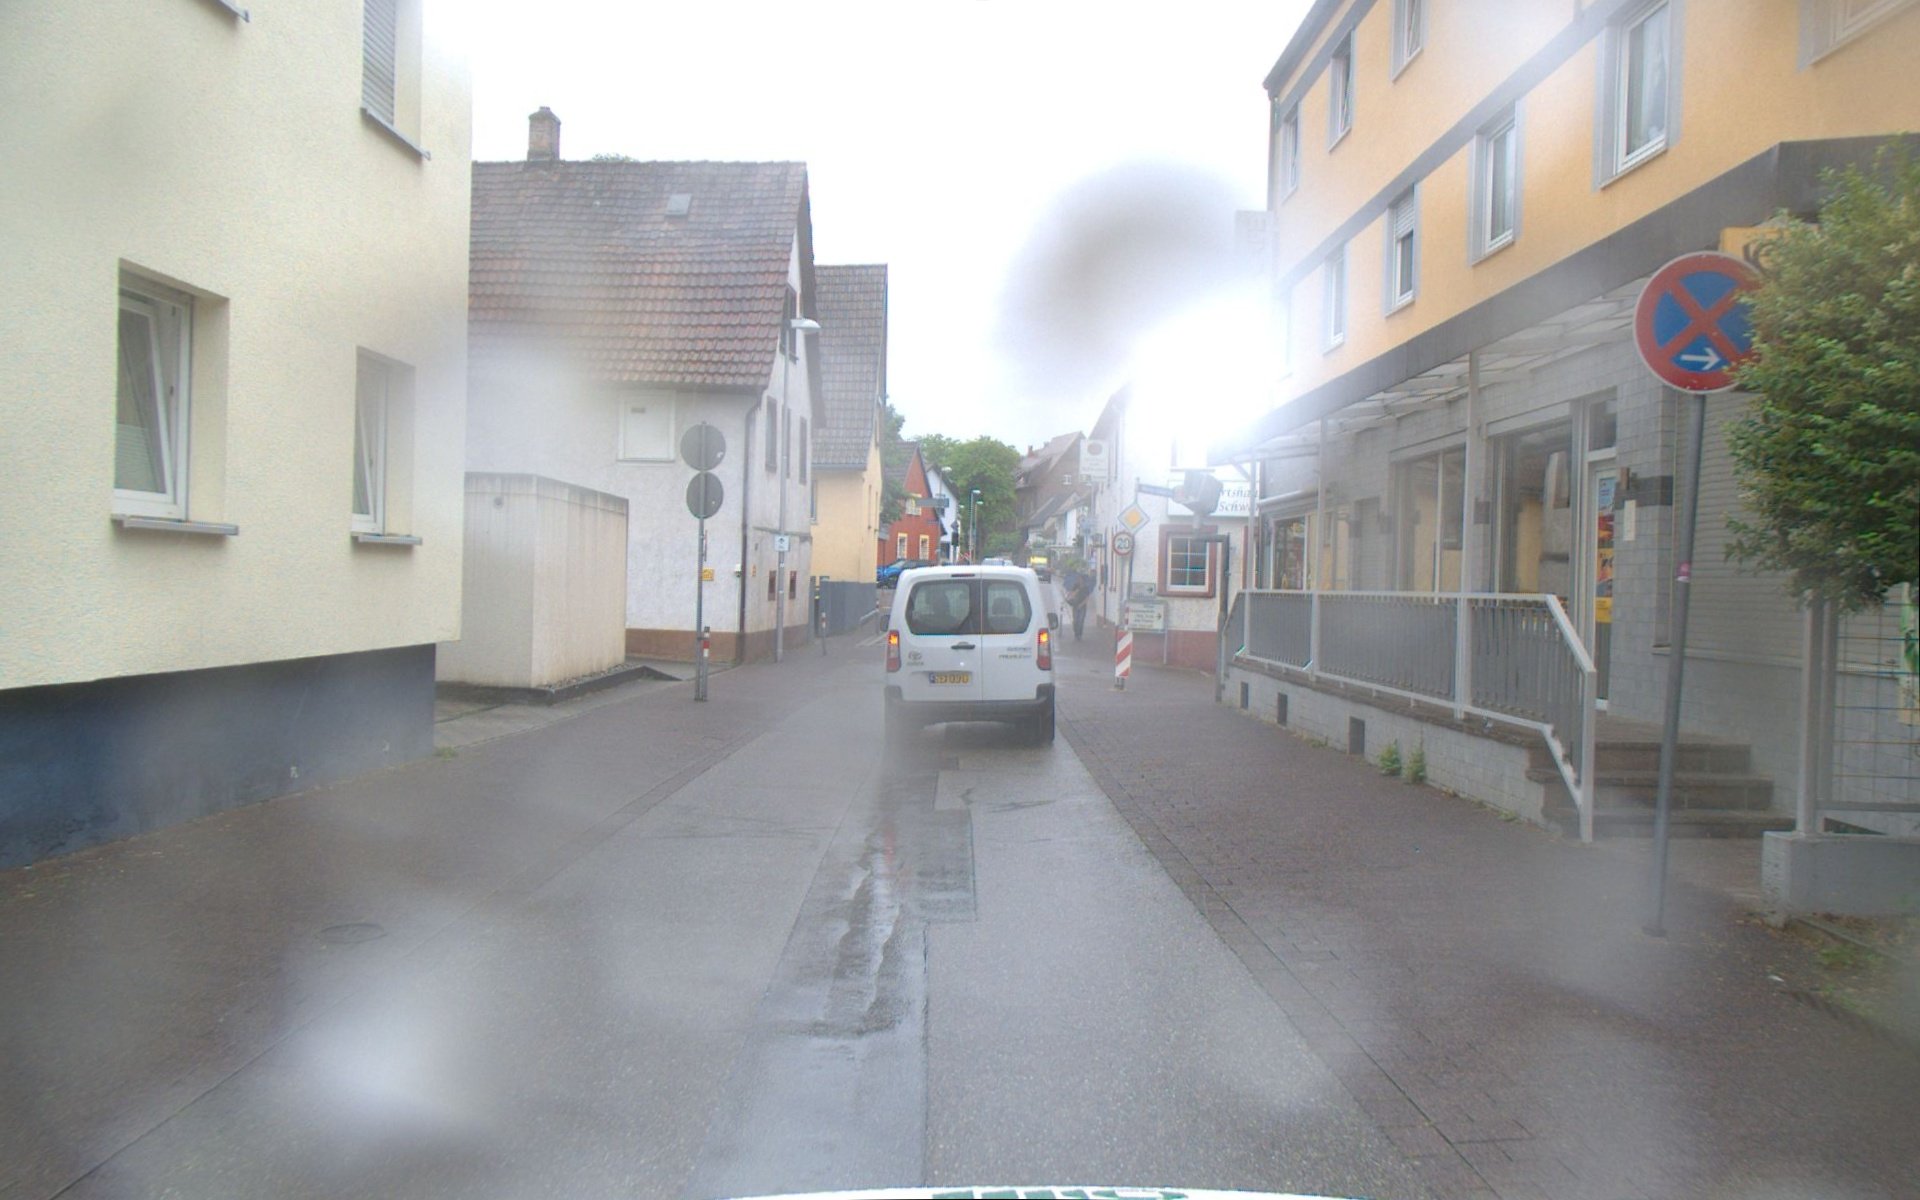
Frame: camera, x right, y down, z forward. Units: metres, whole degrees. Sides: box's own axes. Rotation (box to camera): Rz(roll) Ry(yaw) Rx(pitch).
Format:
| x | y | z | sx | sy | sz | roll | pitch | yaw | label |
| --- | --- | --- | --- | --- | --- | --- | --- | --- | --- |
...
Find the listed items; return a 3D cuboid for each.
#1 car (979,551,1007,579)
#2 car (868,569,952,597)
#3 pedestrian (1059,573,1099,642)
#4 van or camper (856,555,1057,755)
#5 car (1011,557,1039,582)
| x | y | z | sx | sy | sz | roll | pitch | yaw | label |
| --- | --- | --- | --- | --- | --- | --- | --- | --- | --- |
| 2.193 | -2.334 | 109.812 | 1.774 | 1.810 | 4.019 | 1 | 2 | 1 | car |
| -2.611 | -0.898 | 86.682 | 3.953 | 1.397 | 2.086 | 1 | 0 | -35 | car |
| 3.177 | 0.187 | 43.991 | 0.973 | 1.766 | 0.812 | 2 | 3 | 6 | pedestrian |
| -0.038 | 0.537 | 18.144 | 1.904 | 1.883 | 4.000 | 2 | 0 | 0 | van or camper |
| 4.736 | -2.213 | 121.035 | 1.952 | 1.777 | 4.001 | 1 | 1 | 1 | car |
